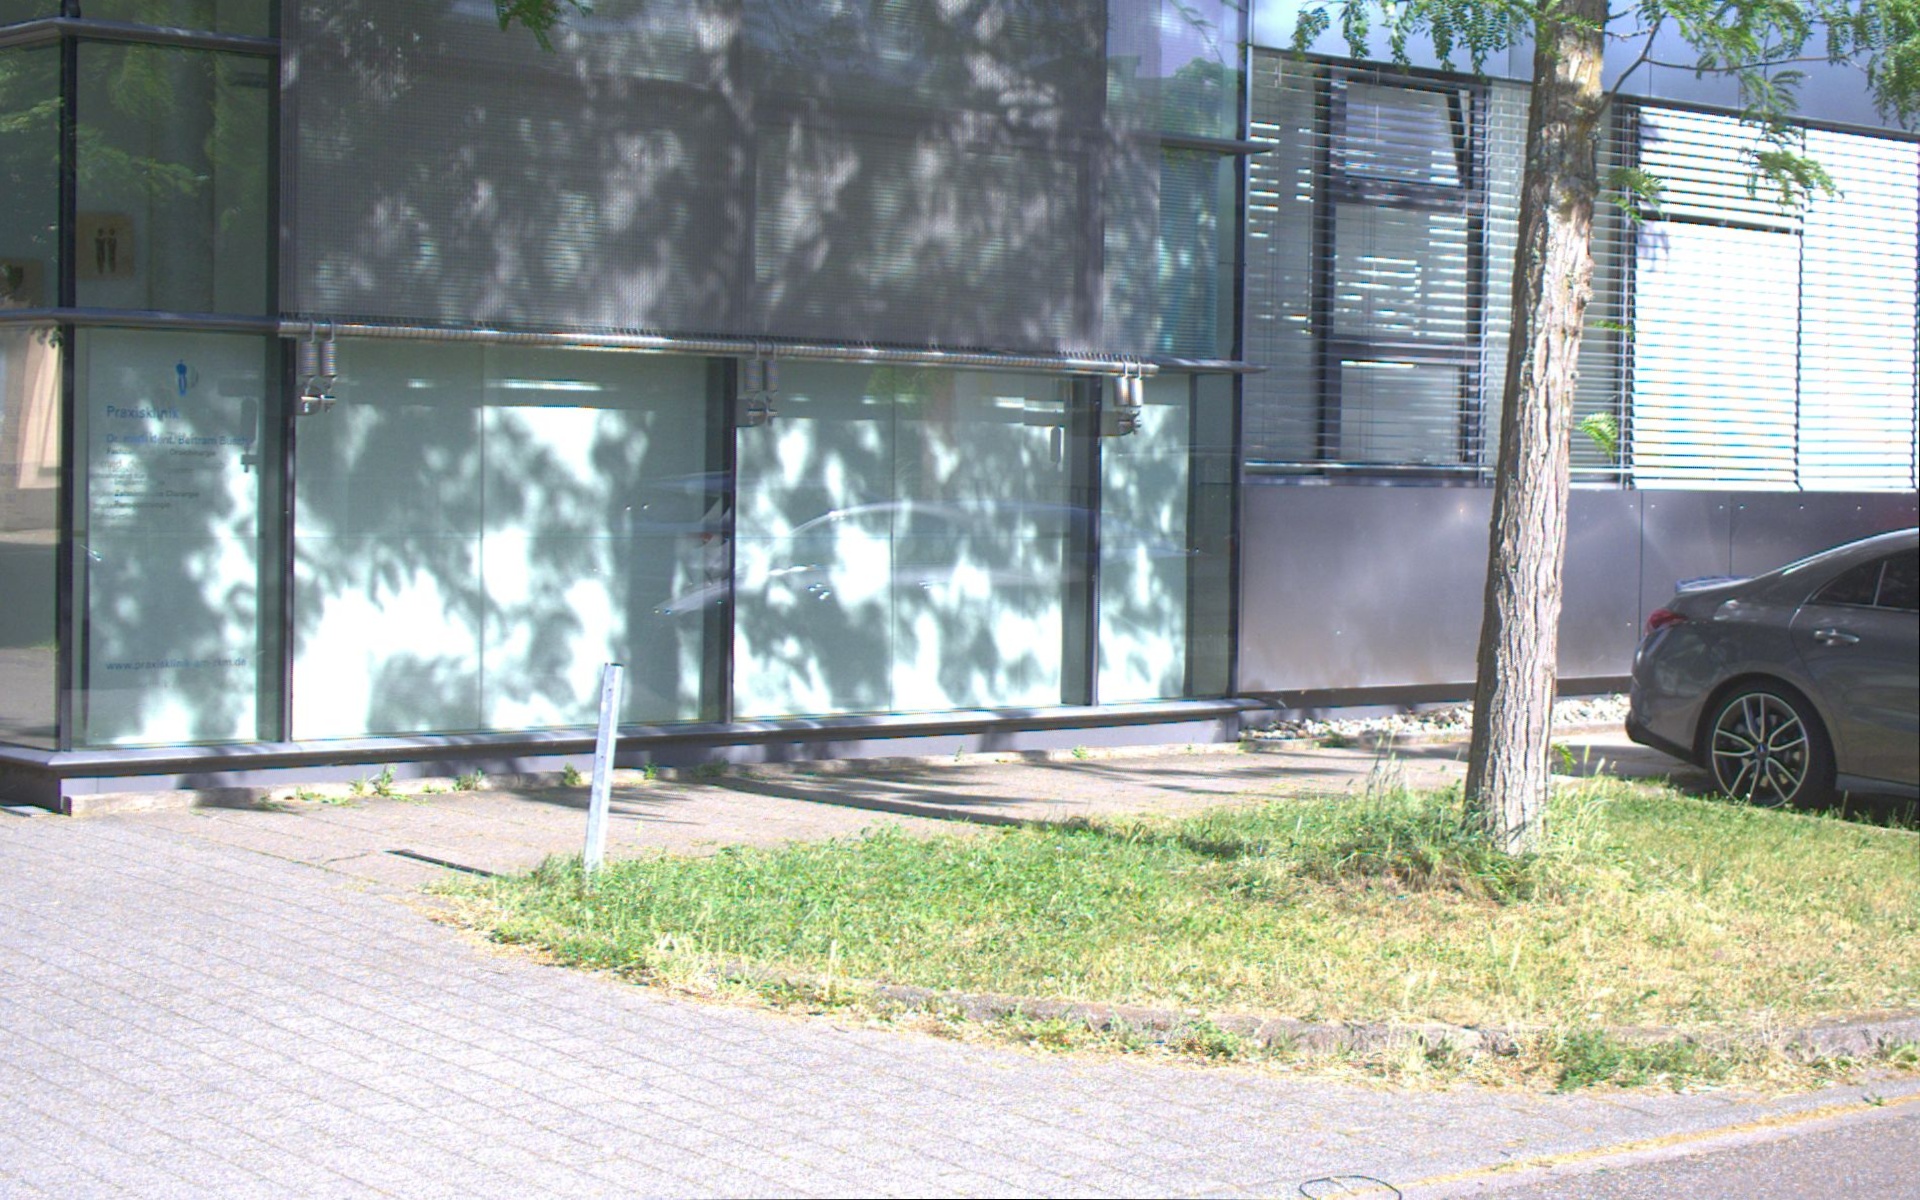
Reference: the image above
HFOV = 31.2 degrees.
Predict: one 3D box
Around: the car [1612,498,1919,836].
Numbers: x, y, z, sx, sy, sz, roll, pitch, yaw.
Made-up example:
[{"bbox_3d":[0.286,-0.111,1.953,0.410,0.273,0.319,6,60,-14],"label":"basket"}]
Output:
[{"bbox_3d":[5.252,0.384,14.814,1.887,1.345,4.549,-1,5,-41],"label":"car"}]
